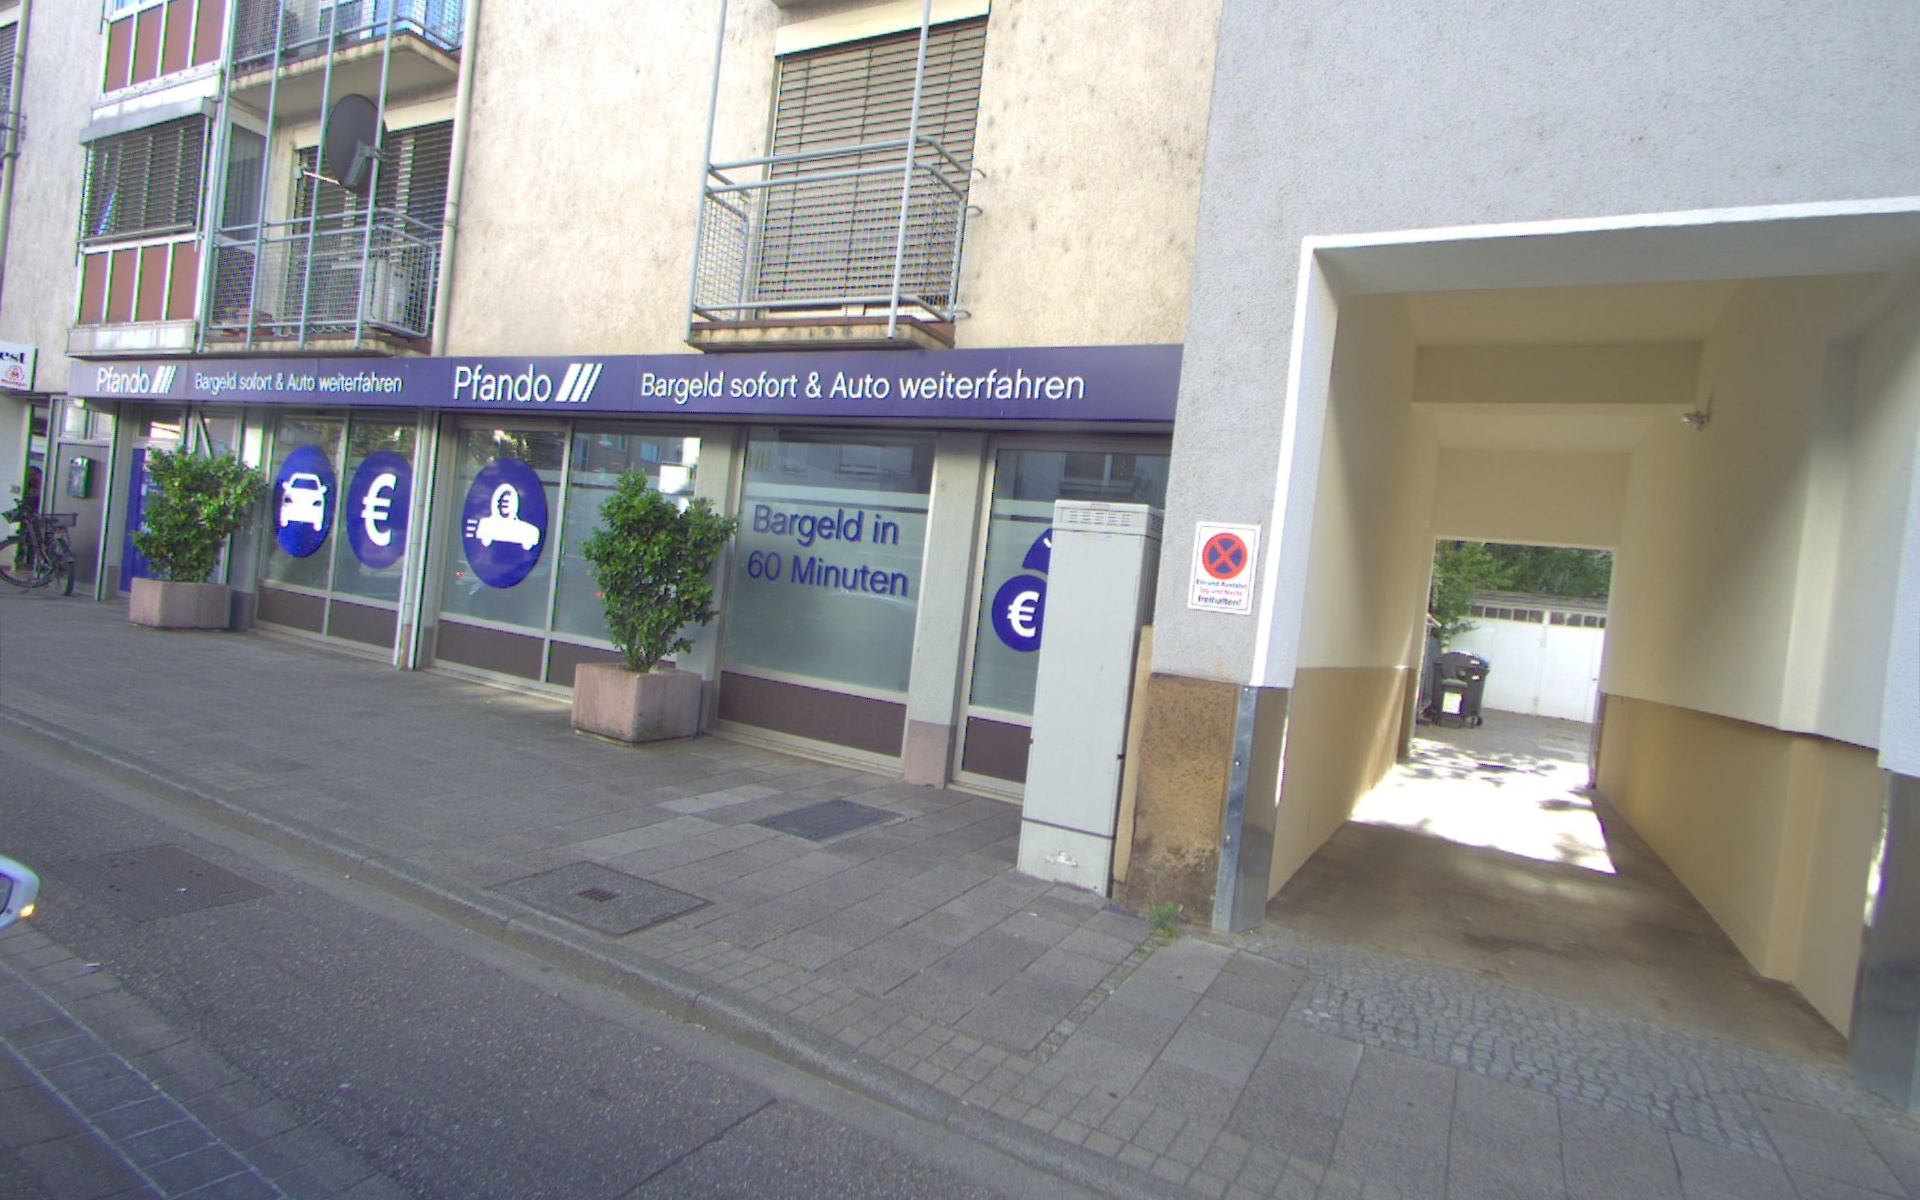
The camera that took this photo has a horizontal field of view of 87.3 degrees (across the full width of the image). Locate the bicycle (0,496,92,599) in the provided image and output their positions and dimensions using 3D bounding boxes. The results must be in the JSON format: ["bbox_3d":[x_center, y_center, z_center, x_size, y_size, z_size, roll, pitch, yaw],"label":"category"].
[{"bbox_3d":[-11.868,-0.694,12.872,1.747,1.176,0.497,6,0,29],"label":"bicycle"}]

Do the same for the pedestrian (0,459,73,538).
[{"bbox_3d":[-14.316,-1.553,15.491,0.667,1.102,0.624,7,2,-5],"label":"pedestrian"}]

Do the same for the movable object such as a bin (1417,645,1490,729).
[{"bbox_3d":[10.029,1.765,20.418,1.092,1.511,1.329,6,-2,30],"label":"movable object such as a bin"}]
